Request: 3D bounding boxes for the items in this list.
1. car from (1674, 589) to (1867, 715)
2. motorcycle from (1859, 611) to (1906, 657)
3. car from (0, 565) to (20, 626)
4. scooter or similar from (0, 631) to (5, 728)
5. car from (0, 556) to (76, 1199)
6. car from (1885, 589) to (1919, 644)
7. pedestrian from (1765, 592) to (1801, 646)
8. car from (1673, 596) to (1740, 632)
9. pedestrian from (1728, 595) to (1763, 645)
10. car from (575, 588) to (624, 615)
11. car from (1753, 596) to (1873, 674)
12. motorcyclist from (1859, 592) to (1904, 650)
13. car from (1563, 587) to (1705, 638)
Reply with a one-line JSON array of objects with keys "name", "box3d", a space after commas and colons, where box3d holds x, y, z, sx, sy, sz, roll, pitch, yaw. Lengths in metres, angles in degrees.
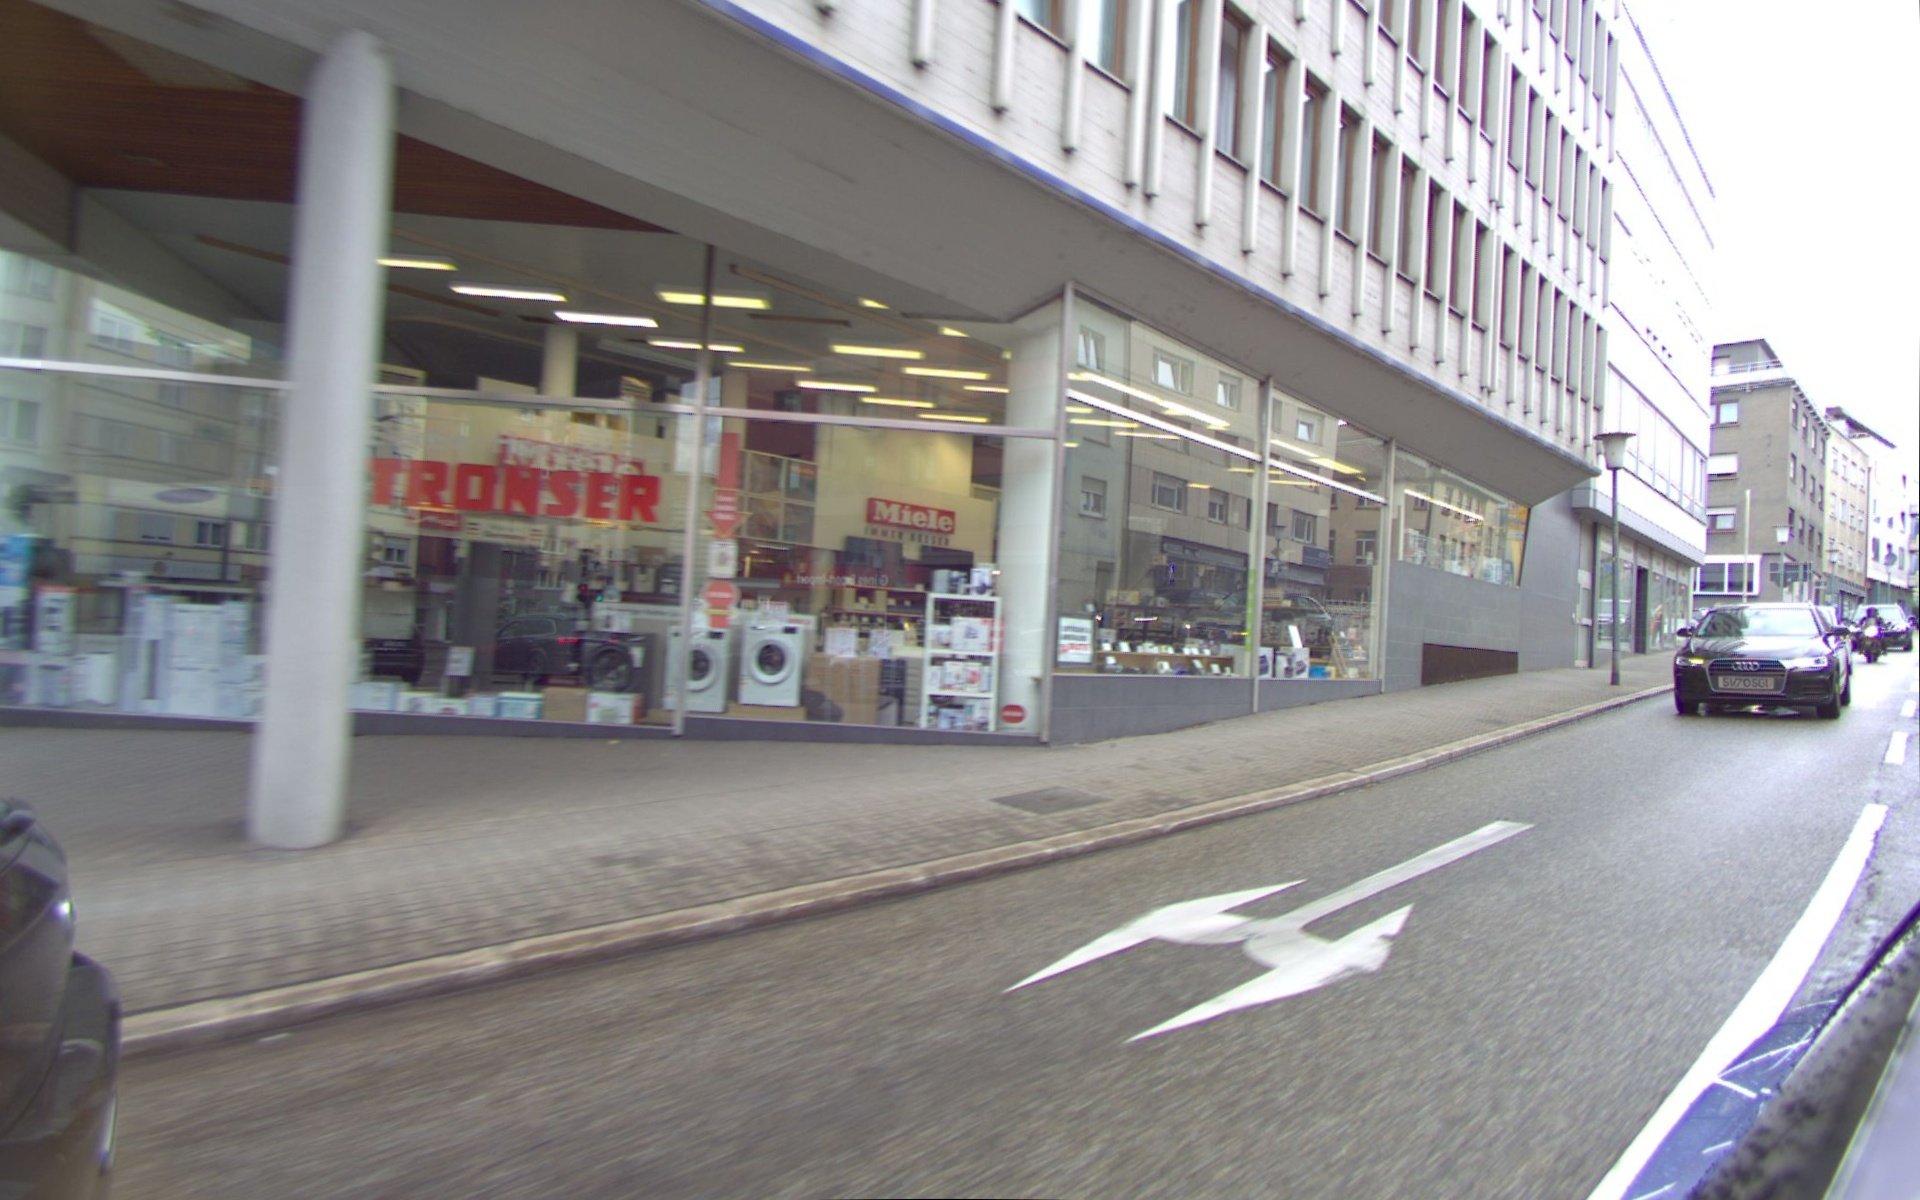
[{"name": "car", "box3d": [11.947, 0.683, 14.815, 1.822, 1.580, 4.135, -3, -2, 44]}, {"name": "motorcycle", "box3d": [26.085, 0.939, 28.648, 0.843, 1.242, 2.339, -3, -2, 40]}, {"name": "car", "box3d": [-26.624, -0.140, 26.375, 3.642, 1.573, 1.618, 1, 1, 19]}, {"name": "scooter or similar", "box3d": [-8.830, 0.680, 8.595, 1.104, 0.834, 0.308, 1, 0, -2]}, {"name": "car", "box3d": [-3.268, 0.682, 0.704, 3.929, 1.495, 1.692, 0, 1, -40]}, {"name": "car", "box3d": [34.756, 0.585, 36.616, 1.843, 1.928, 3.706, 1, 0, 43]}, {"name": "pedestrian", "box3d": [27.520, 0.620, 33.831, 0.784, 1.726, 1.104, 4, 3, 42]}, {"name": "car", "box3d": [34.470, 0.624, 46.675, 4.364, 1.531, 1.790, 0, 0, -44]}, {"name": "pedestrian", "box3d": [26.032, 0.642, 33.526, 0.765, 1.570, 0.877, 4, 3, 42]}, {"name": "car", "box3d": [-21.910, 0.065, 61.637, 1.960, 1.513, 4.005, 1, 1, -6]}, {"name": "car", "box3d": [19.004, 0.745, 22.522, 1.824, 1.561, 4.188, -4, -3, 42]}, {"name": "motorcyclist", "box3d": [26.057, 0.597, 28.633, 0.843, 1.610, 0.949, -3, -2, 40]}, {"name": "car", "box3d": [23.995, 0.412, 36.203, 3.966, 1.468, 1.780, 5, 2, 29]}]
